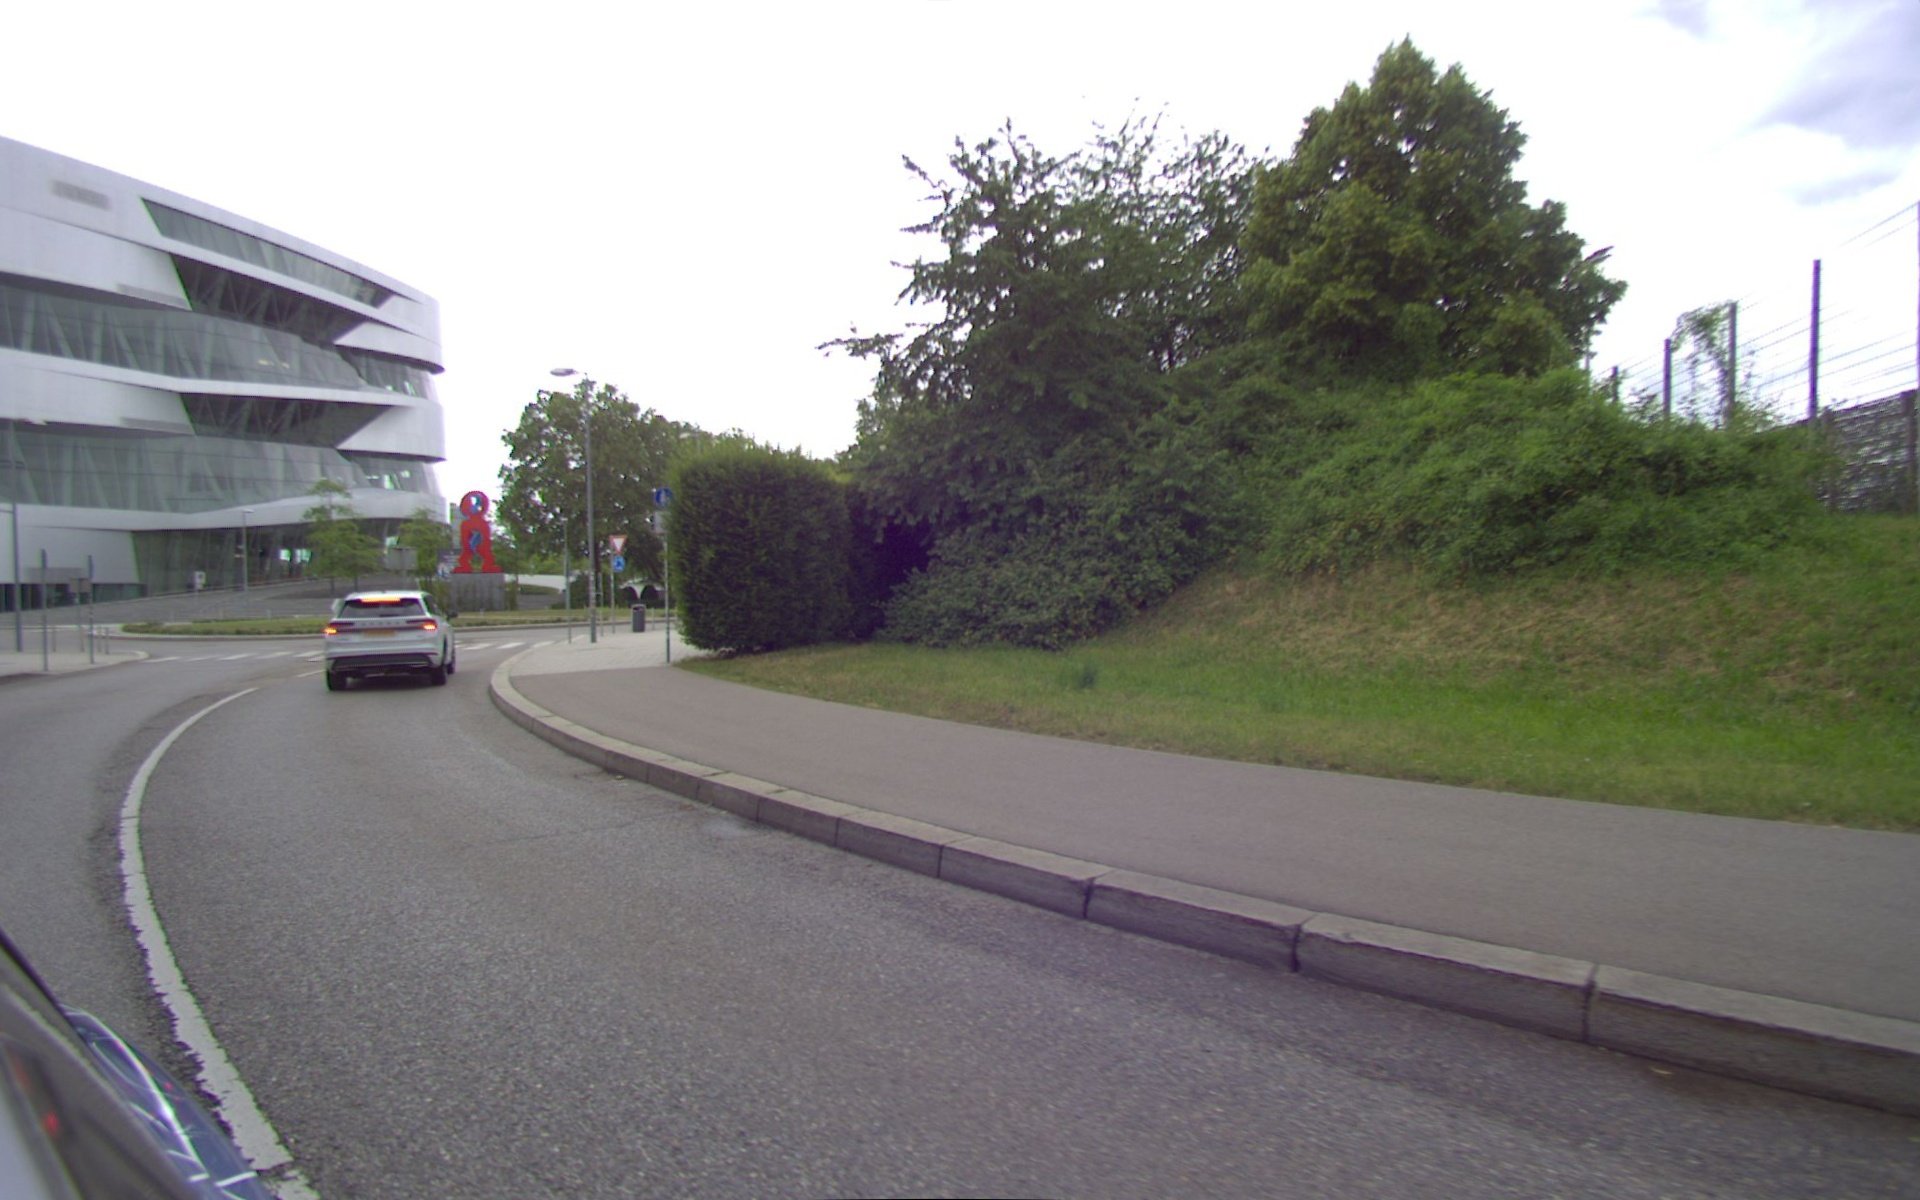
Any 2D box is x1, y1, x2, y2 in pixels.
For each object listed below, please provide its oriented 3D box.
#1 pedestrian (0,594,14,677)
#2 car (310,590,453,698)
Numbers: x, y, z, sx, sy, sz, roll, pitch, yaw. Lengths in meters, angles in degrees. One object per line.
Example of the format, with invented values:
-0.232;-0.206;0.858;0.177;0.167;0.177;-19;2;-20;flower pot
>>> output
-23.801;0.872;24.506;0.778;2.029;1.034;-2;-1;17;pedestrian
-10.413;0.718;18.510;1.838;1.696;4.420;-1;0;-24;car
